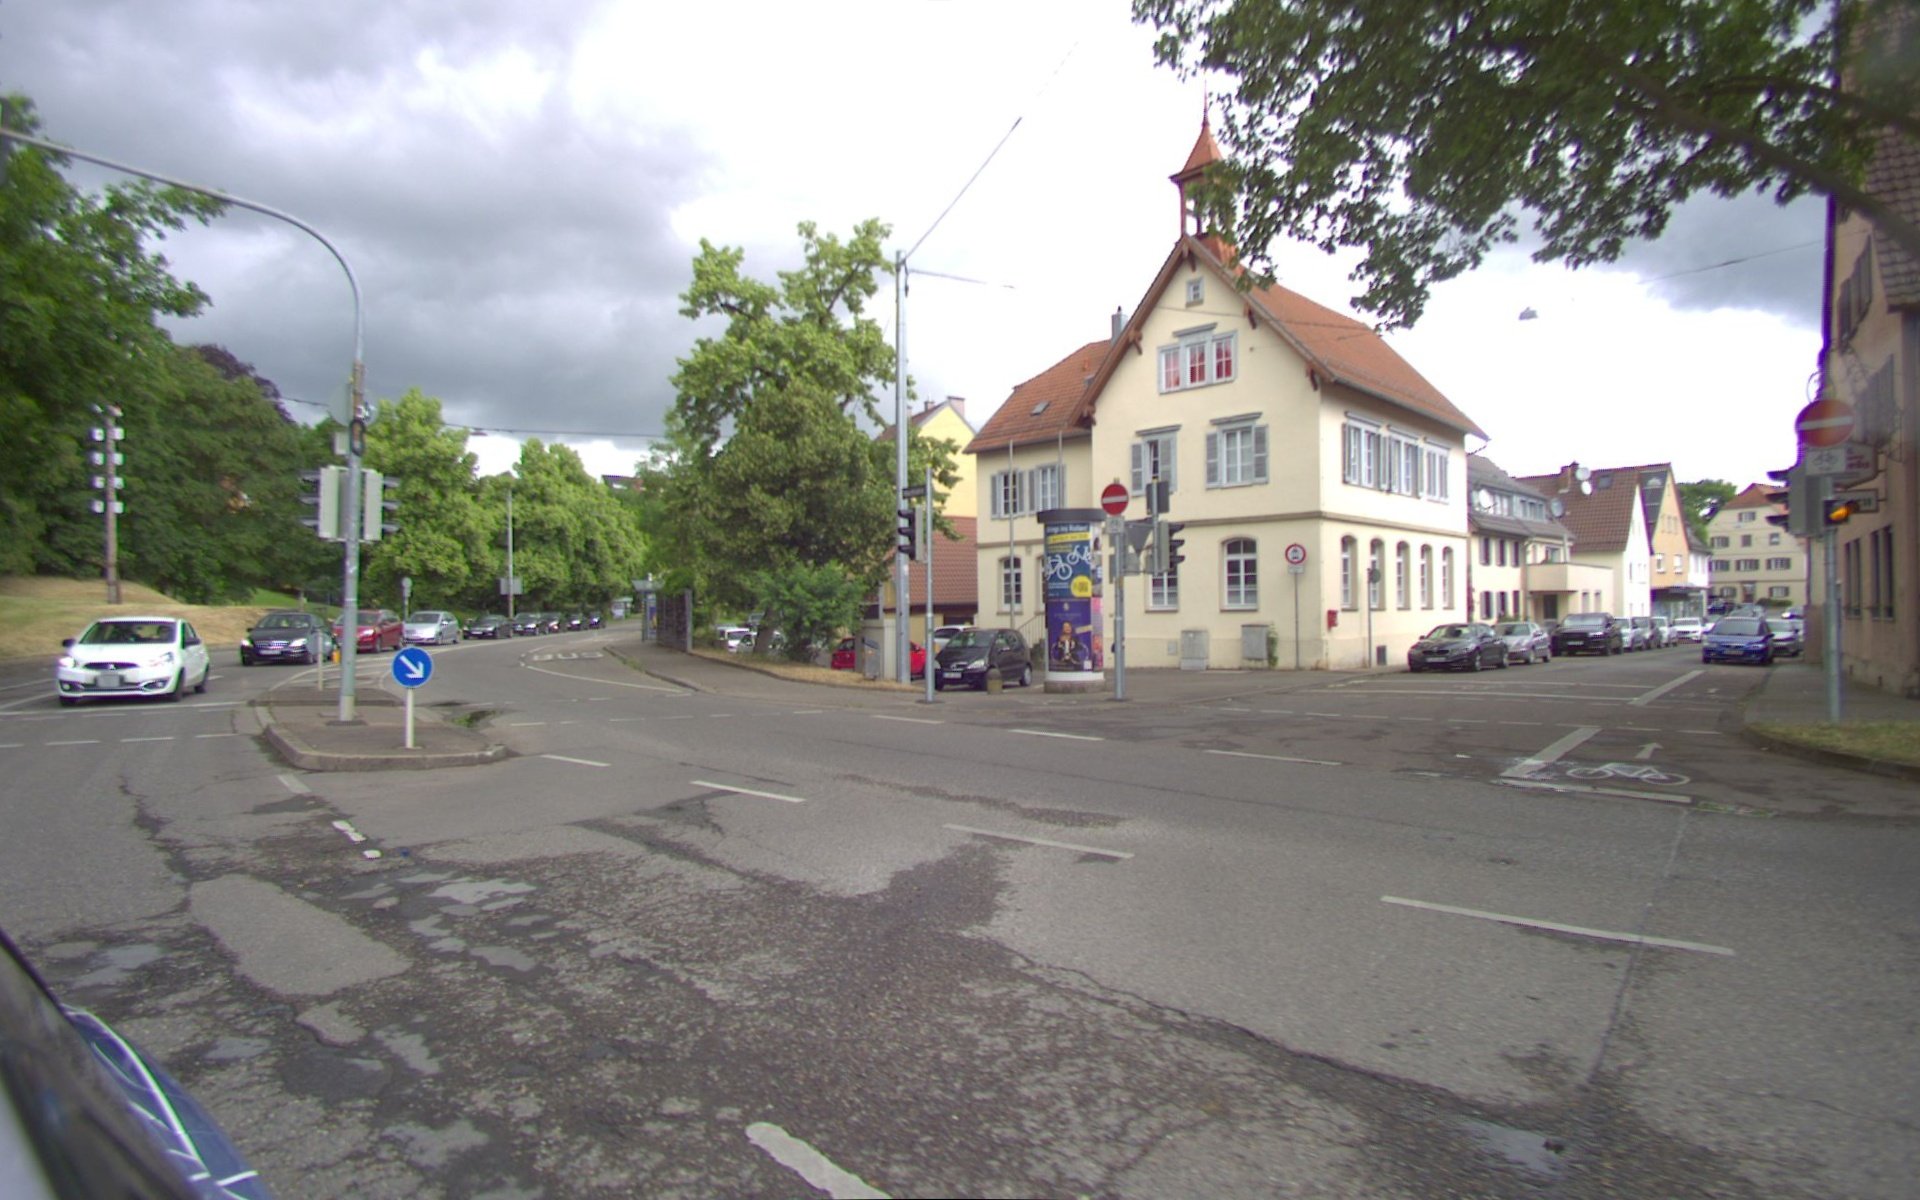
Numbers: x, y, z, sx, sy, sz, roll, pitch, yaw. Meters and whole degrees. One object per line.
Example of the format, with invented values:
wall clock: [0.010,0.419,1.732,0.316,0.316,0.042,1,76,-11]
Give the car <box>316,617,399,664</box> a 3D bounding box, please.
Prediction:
car: [-22.909,1.493,38.624,1.648,1.654,4.112,0,-1,-15]

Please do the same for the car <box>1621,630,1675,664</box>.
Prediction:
car: [33.890,2.298,49.810,1.826,1.526,3.620,-1,-1,40]

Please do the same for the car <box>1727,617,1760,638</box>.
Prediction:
car: [60.425,2.088,78.021,1.826,1.526,3.620,-1,-1,40]

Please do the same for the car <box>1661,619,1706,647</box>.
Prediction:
car: [41.964,1.901,58.668,1.826,1.526,3.619,-1,-1,40]

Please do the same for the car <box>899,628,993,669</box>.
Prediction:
car: [-0.575,1.871,39.595,3.480,1.503,1.631,-1,-1,41]

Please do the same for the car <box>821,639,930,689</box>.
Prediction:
car: [-2.579,1.954,31.444,1.594,1.364,3.591,-1,-1,31]

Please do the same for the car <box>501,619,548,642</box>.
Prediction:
car: [-27.409,1.888,63.776,1.671,1.422,3.988,0,-1,-7]

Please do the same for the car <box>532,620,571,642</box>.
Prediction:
car: [-28.447,2.140,70.575,1.681,1.457,3.874,0,-1,-8]

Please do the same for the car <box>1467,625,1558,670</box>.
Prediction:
car: [17.945,1.488,32.790,1.712,1.325,3.809,-1,-1,43]

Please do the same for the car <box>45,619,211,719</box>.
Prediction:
car: [-14.646,1.124,18.035,1.601,1.520,4.012,0,-1,-29]

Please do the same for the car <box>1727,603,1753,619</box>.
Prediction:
car: [75.193,1.087,97.591,1.826,1.526,3.619,-1,-1,40]

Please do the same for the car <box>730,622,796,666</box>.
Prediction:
car: [-7.955,1.712,40.669,1.868,1.640,4.013,0,-1,-22]

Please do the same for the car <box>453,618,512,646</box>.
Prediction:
car: [-26.745,1.766,56.792,1.826,1.468,4.006,0,-1,-7]

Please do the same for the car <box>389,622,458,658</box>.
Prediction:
car: [-24.830,1.822,46.970,1.755,1.580,4.009,0,-1,-11]

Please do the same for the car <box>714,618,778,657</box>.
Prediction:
car: [-9.488,1.603,44.656,1.903,1.620,3.673,0,-1,-26]

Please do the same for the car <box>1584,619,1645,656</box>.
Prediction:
car: [29.056,1.634,44.914,1.826,1.526,3.620,-1,-1,40]

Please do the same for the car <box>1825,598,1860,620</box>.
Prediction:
car: [65.783,0.709,75.463,1.826,1.589,3.619,-1,-1,40]

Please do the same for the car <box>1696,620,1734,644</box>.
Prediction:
car: [50.102,2.087,67.156,1.826,1.526,3.619,-1,-1,40]

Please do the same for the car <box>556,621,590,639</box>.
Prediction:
car: [-29.030,2.228,76.012,1.620,1.279,3.631,0,-1,-7]

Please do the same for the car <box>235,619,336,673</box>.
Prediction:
car: [-20.534,1.357,30.982,1.702,1.532,4.013,0,-1,-21]

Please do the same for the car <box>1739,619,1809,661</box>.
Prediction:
car: [32.335,1.556,40.173,3.659,1.565,1.767,0,-1,-45]

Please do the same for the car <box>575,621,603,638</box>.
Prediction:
car: [-30.178,2.388,82.402,1.398,1.259,3.301,0,-1,-7]

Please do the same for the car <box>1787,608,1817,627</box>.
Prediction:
car: [69.741,1.478,83.853,1.826,1.526,3.619,-1,-1,40]

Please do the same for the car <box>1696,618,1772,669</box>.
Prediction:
car: [25.534,1.380,33.338,1.826,1.526,3.619,-1,-1,40]

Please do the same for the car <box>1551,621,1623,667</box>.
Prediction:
car: [24.988,1.708,40.276,1.746,1.696,3.789,-1,-2,42]

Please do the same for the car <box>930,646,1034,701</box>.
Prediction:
car: [0.641,1.855,26.315,1.475,1.320,3.370,-1,-3,25]
